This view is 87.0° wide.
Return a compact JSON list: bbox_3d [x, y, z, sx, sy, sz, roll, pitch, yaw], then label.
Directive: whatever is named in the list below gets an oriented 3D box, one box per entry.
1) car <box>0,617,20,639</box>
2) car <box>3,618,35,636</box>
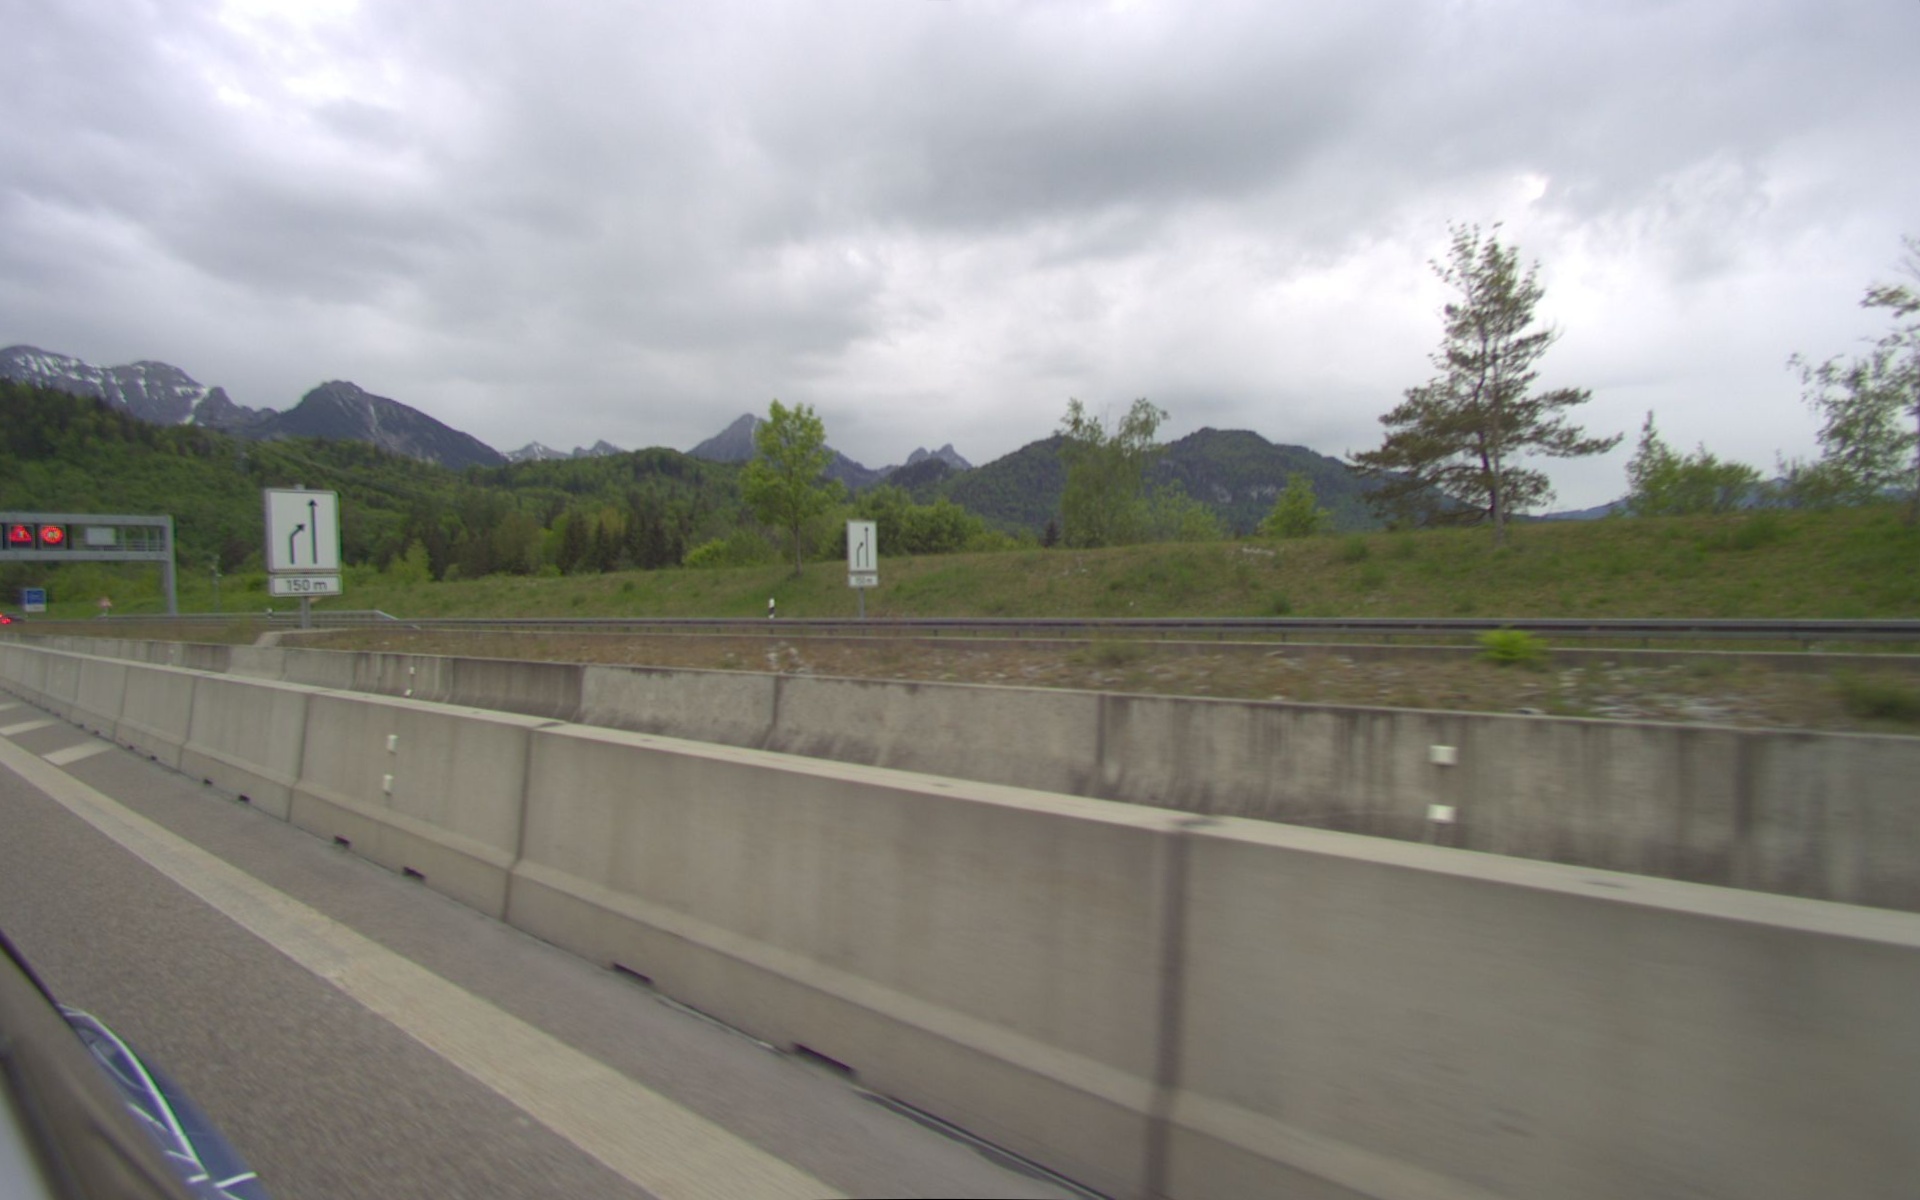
[{"bbox_3d":[-79.905,2.305,84.191,5.747,1.749,1.859,-1,0,40],"label":"car"},{"bbox_3d":[-91.573,2.650,98.518,4.402,1.620,1.750,-1,0,40],"label":"car"}]
